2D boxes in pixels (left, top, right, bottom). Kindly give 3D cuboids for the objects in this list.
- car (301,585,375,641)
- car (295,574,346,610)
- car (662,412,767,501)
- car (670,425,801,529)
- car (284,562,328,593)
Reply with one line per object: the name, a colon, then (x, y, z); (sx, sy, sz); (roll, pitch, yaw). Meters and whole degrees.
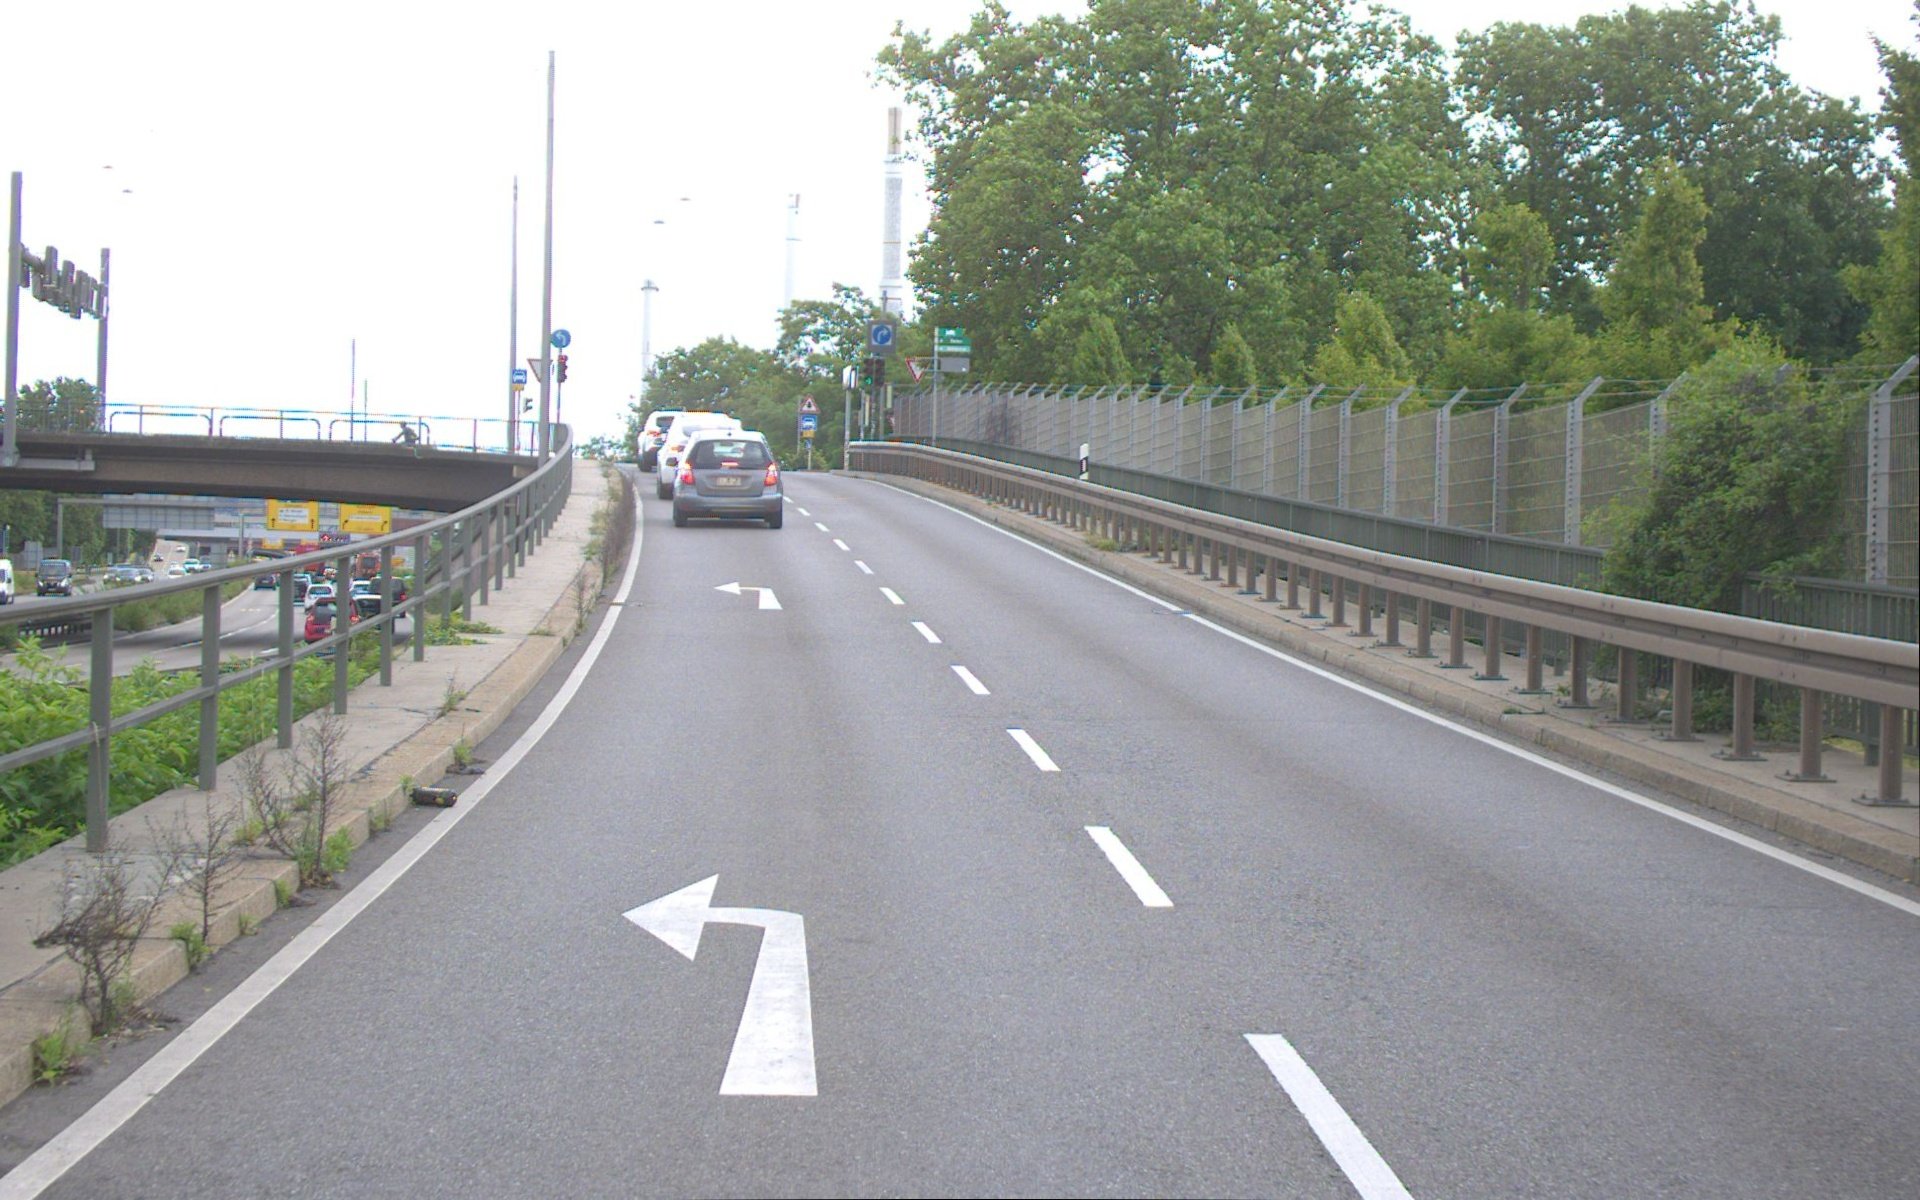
car: (-18.137, 0.364, 100.361); (1.993, 1.415, 4.001); (2, 1, -9)
car: (-33.222, -0.431, 178.649); (1.993, 1.678, 4.001); (2, 1, -2)
car: (-4.912, -2.876, 68.407); (1.993, 1.597, 4.002); (0, 4, -5)
car: (-3.692, -2.015, 57.117); (1.750, 1.575, 4.085); (2, 1, 1)
car: (-39.014, -1.353, 205.175); (1.993, 1.678, 4.001); (2, 1, -2)
